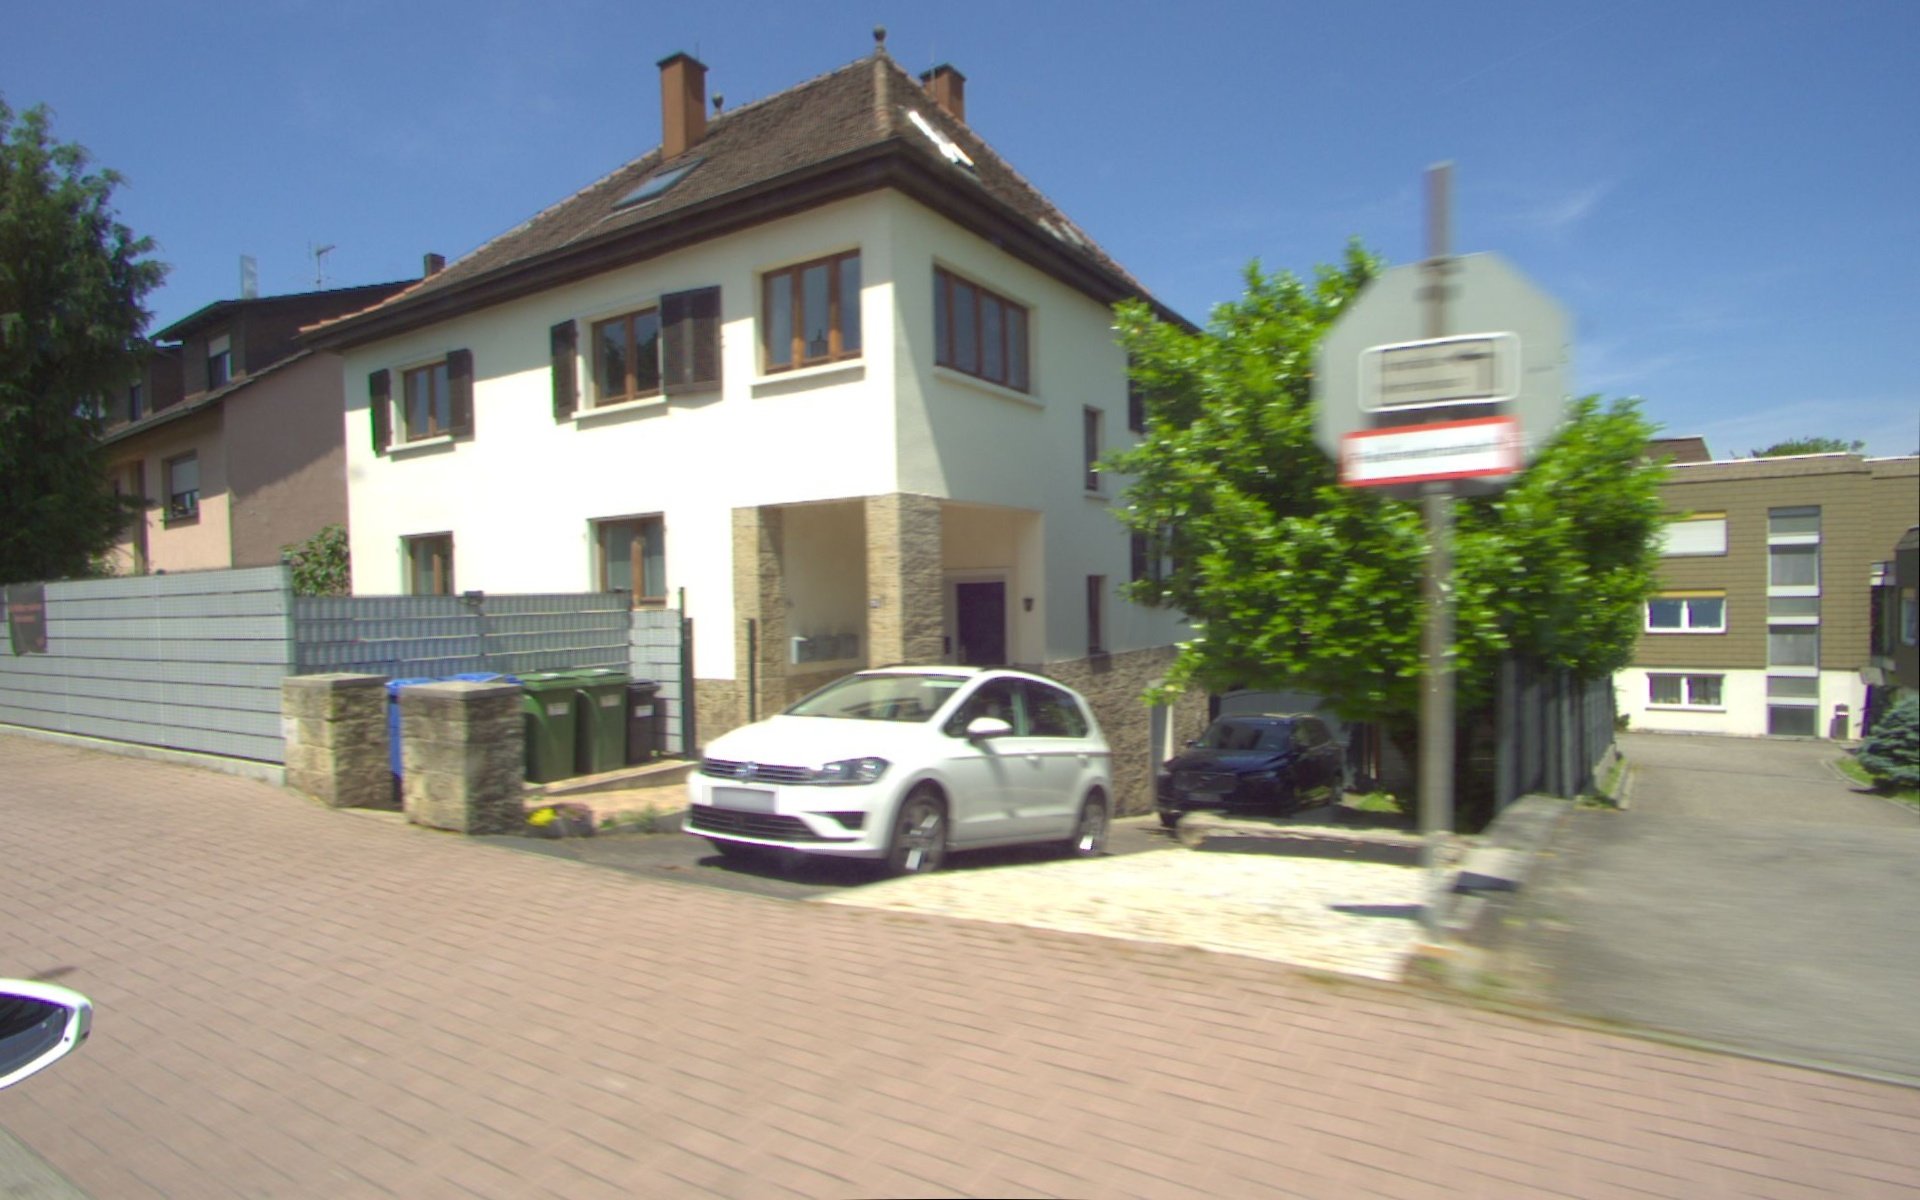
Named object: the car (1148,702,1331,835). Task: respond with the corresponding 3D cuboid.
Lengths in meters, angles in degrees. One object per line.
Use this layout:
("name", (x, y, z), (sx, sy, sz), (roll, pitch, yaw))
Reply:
("car", (4.564, 2.582, 15.945), (1.845, 1.749, 3.988), (-1, -7, 30))

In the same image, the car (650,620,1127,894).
("car", (-0.255, 1.240, 7.893), (1.614, 1.566, 3.961), (0, -10, 33))
